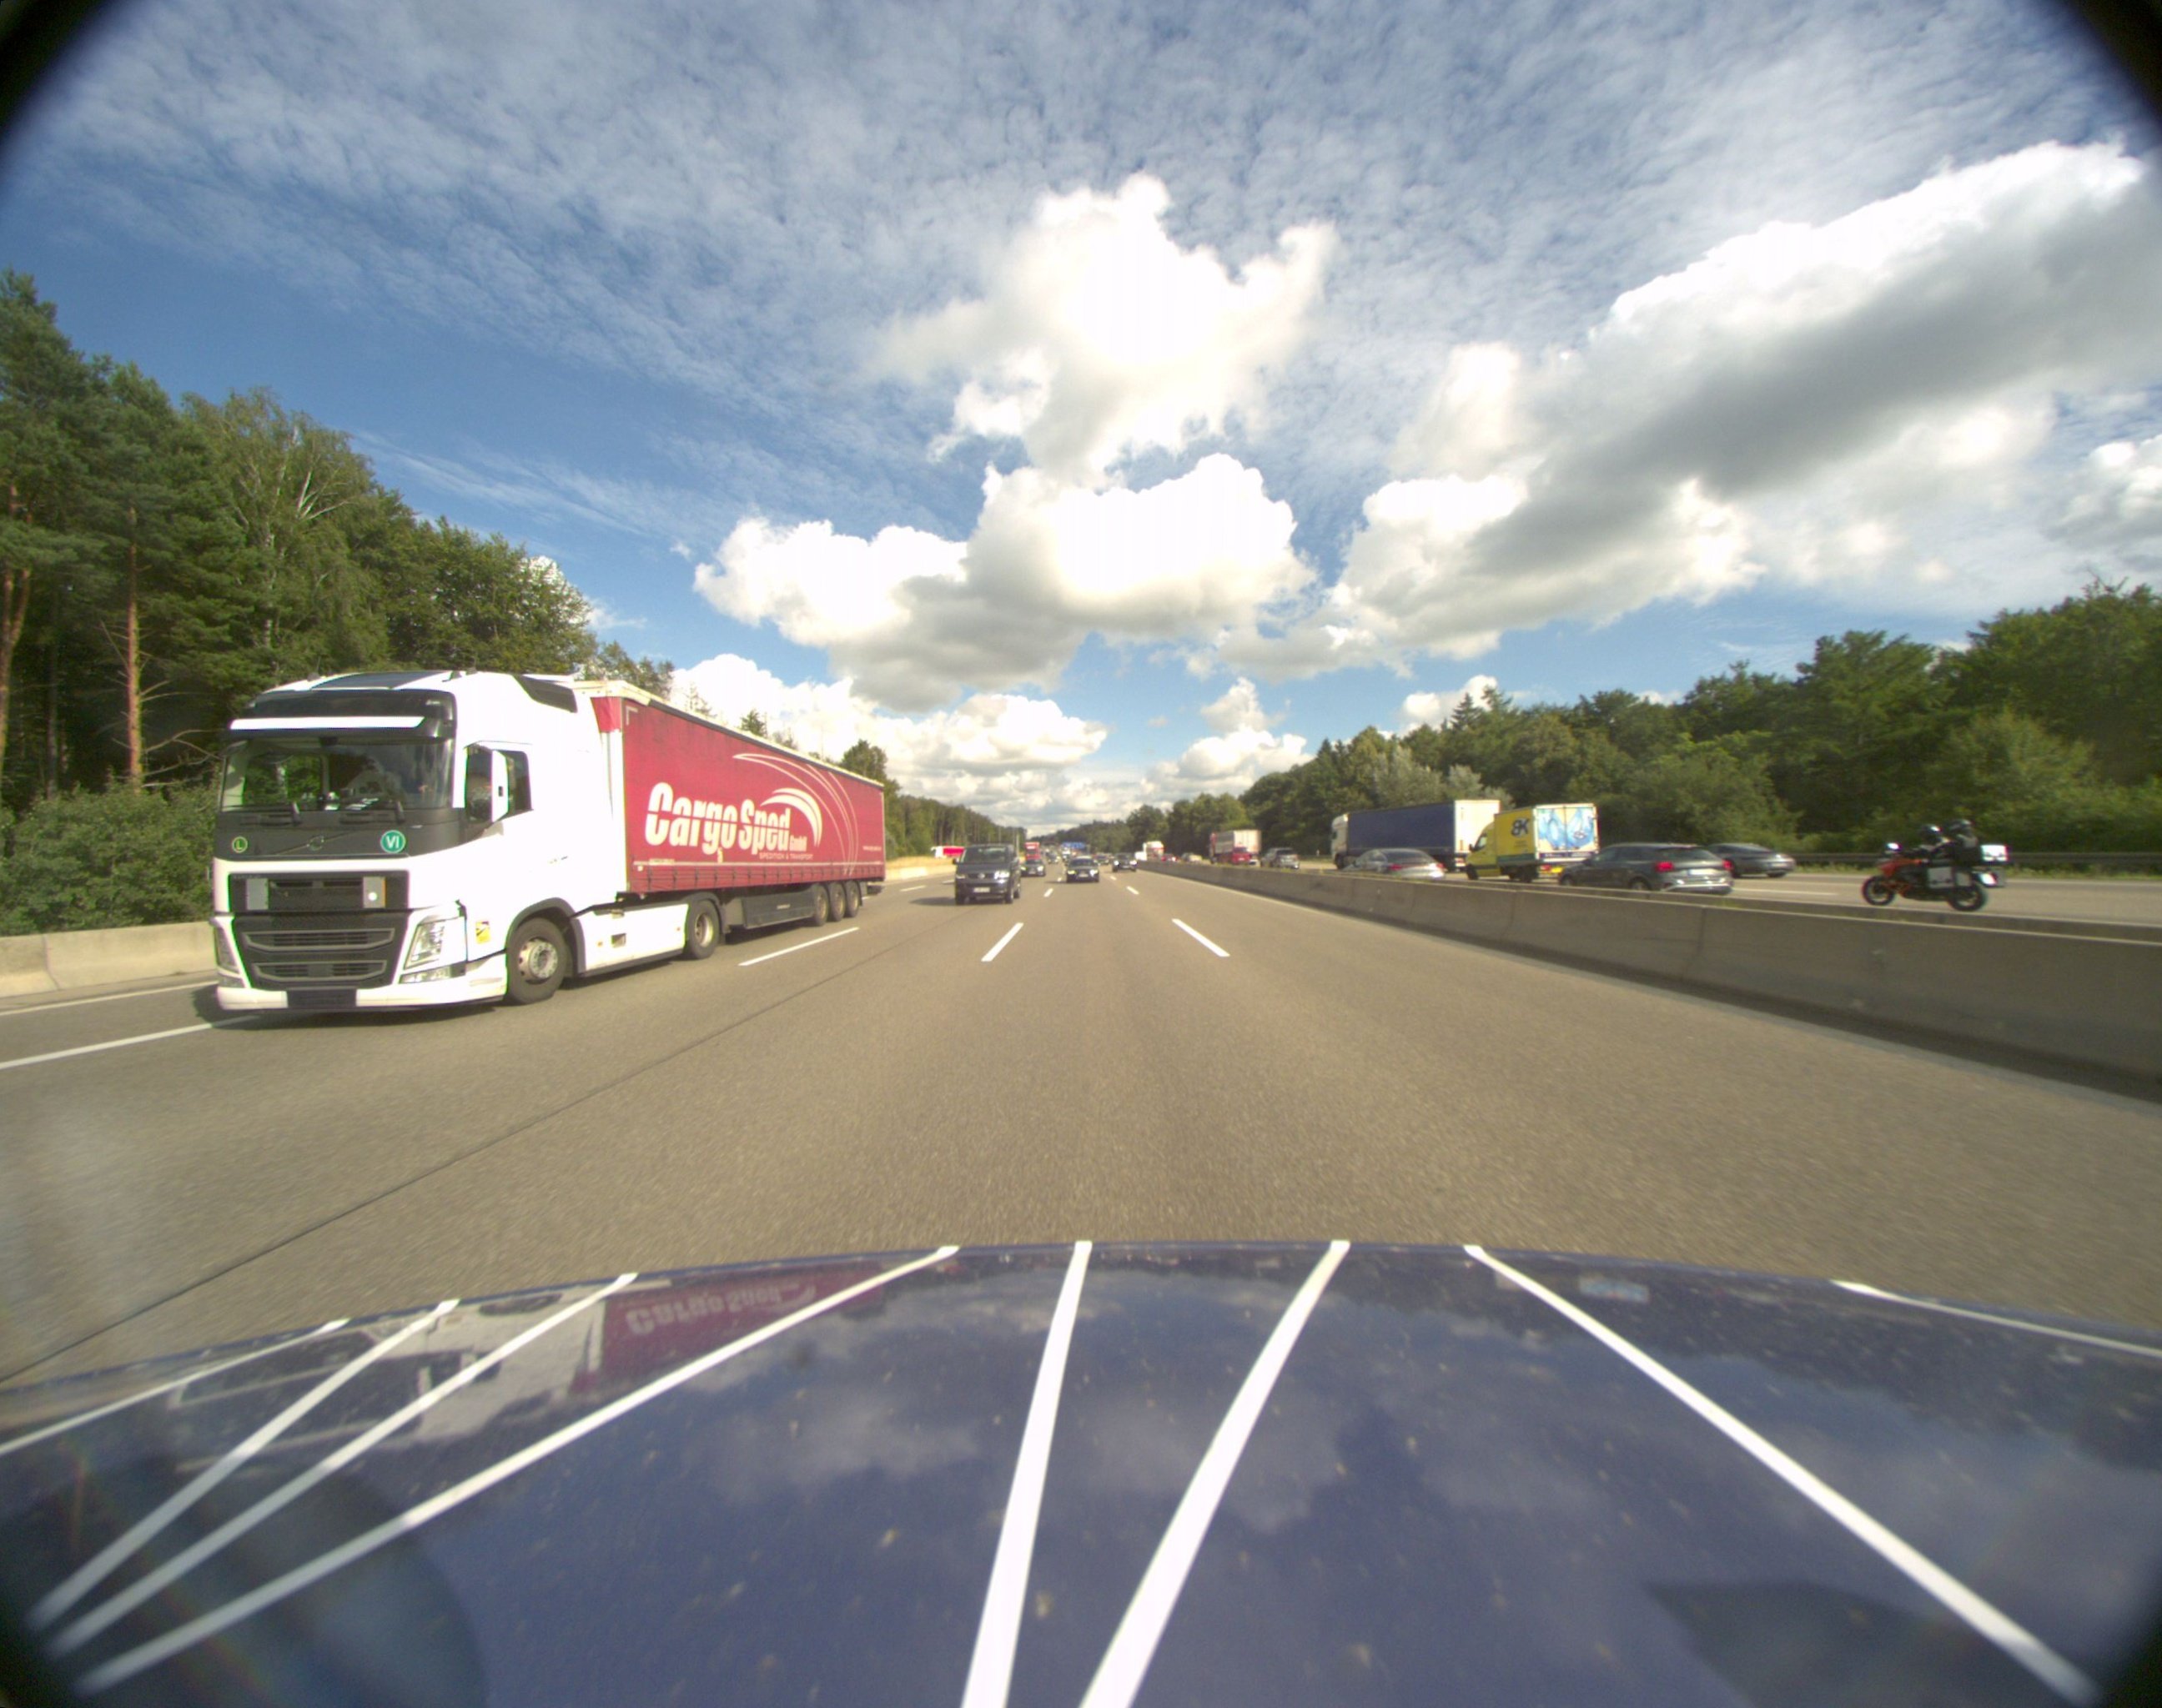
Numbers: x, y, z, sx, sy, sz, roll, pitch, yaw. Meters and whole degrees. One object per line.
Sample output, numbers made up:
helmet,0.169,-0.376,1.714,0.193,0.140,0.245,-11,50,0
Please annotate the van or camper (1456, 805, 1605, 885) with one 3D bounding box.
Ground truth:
van or camper,17.843,-0.342,30.696,2.379,2.875,6.507,0,0,2

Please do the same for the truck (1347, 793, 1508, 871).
truck,20.908,-1.191,47.413,2.827,4.070,13.839,-2,0,-4

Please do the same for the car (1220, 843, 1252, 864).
car,14.912,-0.079,73.334,1.852,1.929,5.031,0,0,-4

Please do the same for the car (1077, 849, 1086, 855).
car,0.216,-0.436,196.860,2.153,1.540,4.676,-2,0,-2

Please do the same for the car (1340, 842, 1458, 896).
car,10.292,0.439,25.013,1.868,1.543,4.661,-2,0,0

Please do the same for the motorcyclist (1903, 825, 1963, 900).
motorcyclist,17.022,0.162,15.189,0.604,1.467,0.532,-2,1,2

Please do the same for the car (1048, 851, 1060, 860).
car,-5.095,0.230,141.918,2.153,1.540,4.676,-2,0,-2

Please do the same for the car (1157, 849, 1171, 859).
car,12.778,0.023,116.773,1.607,1.395,3.999,-2,0,0

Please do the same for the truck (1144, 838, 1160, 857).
truck,15.438,-1.456,165.270,2.795,3.922,6.444,-2,0,-1

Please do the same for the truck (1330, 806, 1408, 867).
truck,20.395,-1.193,54.152,2.827,4.070,6.059,-2,0,-4

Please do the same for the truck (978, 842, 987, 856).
truck,-32.804,-1.528,252.289,2.881,4.481,7.171,0,0,-8

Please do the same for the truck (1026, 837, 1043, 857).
truck,-8.898,-1.353,145.753,3.018,3.662,7.558,-1,0,-3

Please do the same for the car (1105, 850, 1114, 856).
car,7.096,-0.201,188.815,1.860,1.551,3.992,-2,0,-2

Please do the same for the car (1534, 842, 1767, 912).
car,13.958,0.495,19.097,2.177,1.462,4.785,-2,0,-1

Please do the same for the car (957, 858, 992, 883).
car,-6.593,0.983,47.332,1.654,1.433,3.999,-2,0,-1

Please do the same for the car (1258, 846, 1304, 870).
car,14.045,0.257,53.622,1.848,1.586,4.913,0,0,-1

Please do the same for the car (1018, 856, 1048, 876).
car,-3.721,0.893,59.100,2.153,1.426,5.098,-2,0,-2

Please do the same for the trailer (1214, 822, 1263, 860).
trailer,17.455,-1.408,85.106,2.974,3.835,11.280,-2,0,0

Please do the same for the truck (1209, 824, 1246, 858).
truck,17.418,-1.484,90.729,2.974,3.835,6.764,-2,0,0

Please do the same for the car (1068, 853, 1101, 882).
car,0.179,0.717,43.495,1.733,1.500,4.727,-2,0,0

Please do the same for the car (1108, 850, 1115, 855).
car,8.964,-0.419,223.639,1.860,1.551,4.283,-2,0,-2

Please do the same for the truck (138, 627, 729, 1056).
truck,-7.530,-0.121,10.159,2.781,4.022,5.773,-2,0,0

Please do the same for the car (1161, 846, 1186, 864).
car,10.706,0.096,88.252,2.177,1.867,5.360,-2,0,-1

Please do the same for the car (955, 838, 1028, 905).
car,-3.030,0.549,26.701,1.853,2.097,4.932,-2,0,1

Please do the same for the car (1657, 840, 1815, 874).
car,24.763,0.095,29.030,1.940,1.125,4.785,-2,0,0

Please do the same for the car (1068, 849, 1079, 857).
car,-1.533,-0.122,154.962,2.153,1.540,4.676,-2,0,-2

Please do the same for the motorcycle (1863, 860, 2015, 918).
motorcycle,17.026,0.653,15.170,0.611,1.034,2.175,-2,0,2

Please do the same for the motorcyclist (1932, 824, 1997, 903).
motorcyclist,16.977,0.171,14.610,0.604,1.467,0.532,-2,1,2

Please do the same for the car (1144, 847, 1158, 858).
car,12.549,-0.203,136.935,1.854,1.867,4.614,-2,0,-2

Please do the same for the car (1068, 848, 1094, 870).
car,0.012,0.427,67.220,2.153,1.800,5.098,-2,1,0

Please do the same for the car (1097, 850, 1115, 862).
car,3.509,0.303,107.438,2.153,1.540,4.676,-2,0,-2

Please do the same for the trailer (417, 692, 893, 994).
trailer,-7.462,-0.166,17.140,2.781,4.021,13.712,-2,0,0

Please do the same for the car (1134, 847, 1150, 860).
car,9.017,-0.083,113.381,1.854,1.867,4.614,-2,0,-2

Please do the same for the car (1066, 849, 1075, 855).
car,-2.630,-0.464,187.195,2.153,1.540,4.676,-2,0,-2

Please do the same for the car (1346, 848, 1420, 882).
car,13.926,0.490,35.290,1.788,1.462,4.330,0,0,1

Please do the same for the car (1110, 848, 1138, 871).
car,3.714,0.445,65.848,2.152,1.800,5.099,-2,1,1

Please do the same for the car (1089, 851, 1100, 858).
car,3.258,0.188,183.406,2.153,1.540,4.676,-2,0,-2

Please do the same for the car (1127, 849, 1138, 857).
car,11.297,-0.293,168.092,1.860,1.660,5.209,-2,0,-2

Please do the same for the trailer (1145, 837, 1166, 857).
trailer,15.518,-1.376,159.200,2.795,3.922,12.250,-2,0,-1

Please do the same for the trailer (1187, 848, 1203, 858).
trailer,16.769,-0.110,111.690,1.538,1.394,4.179,-2,0,-2
